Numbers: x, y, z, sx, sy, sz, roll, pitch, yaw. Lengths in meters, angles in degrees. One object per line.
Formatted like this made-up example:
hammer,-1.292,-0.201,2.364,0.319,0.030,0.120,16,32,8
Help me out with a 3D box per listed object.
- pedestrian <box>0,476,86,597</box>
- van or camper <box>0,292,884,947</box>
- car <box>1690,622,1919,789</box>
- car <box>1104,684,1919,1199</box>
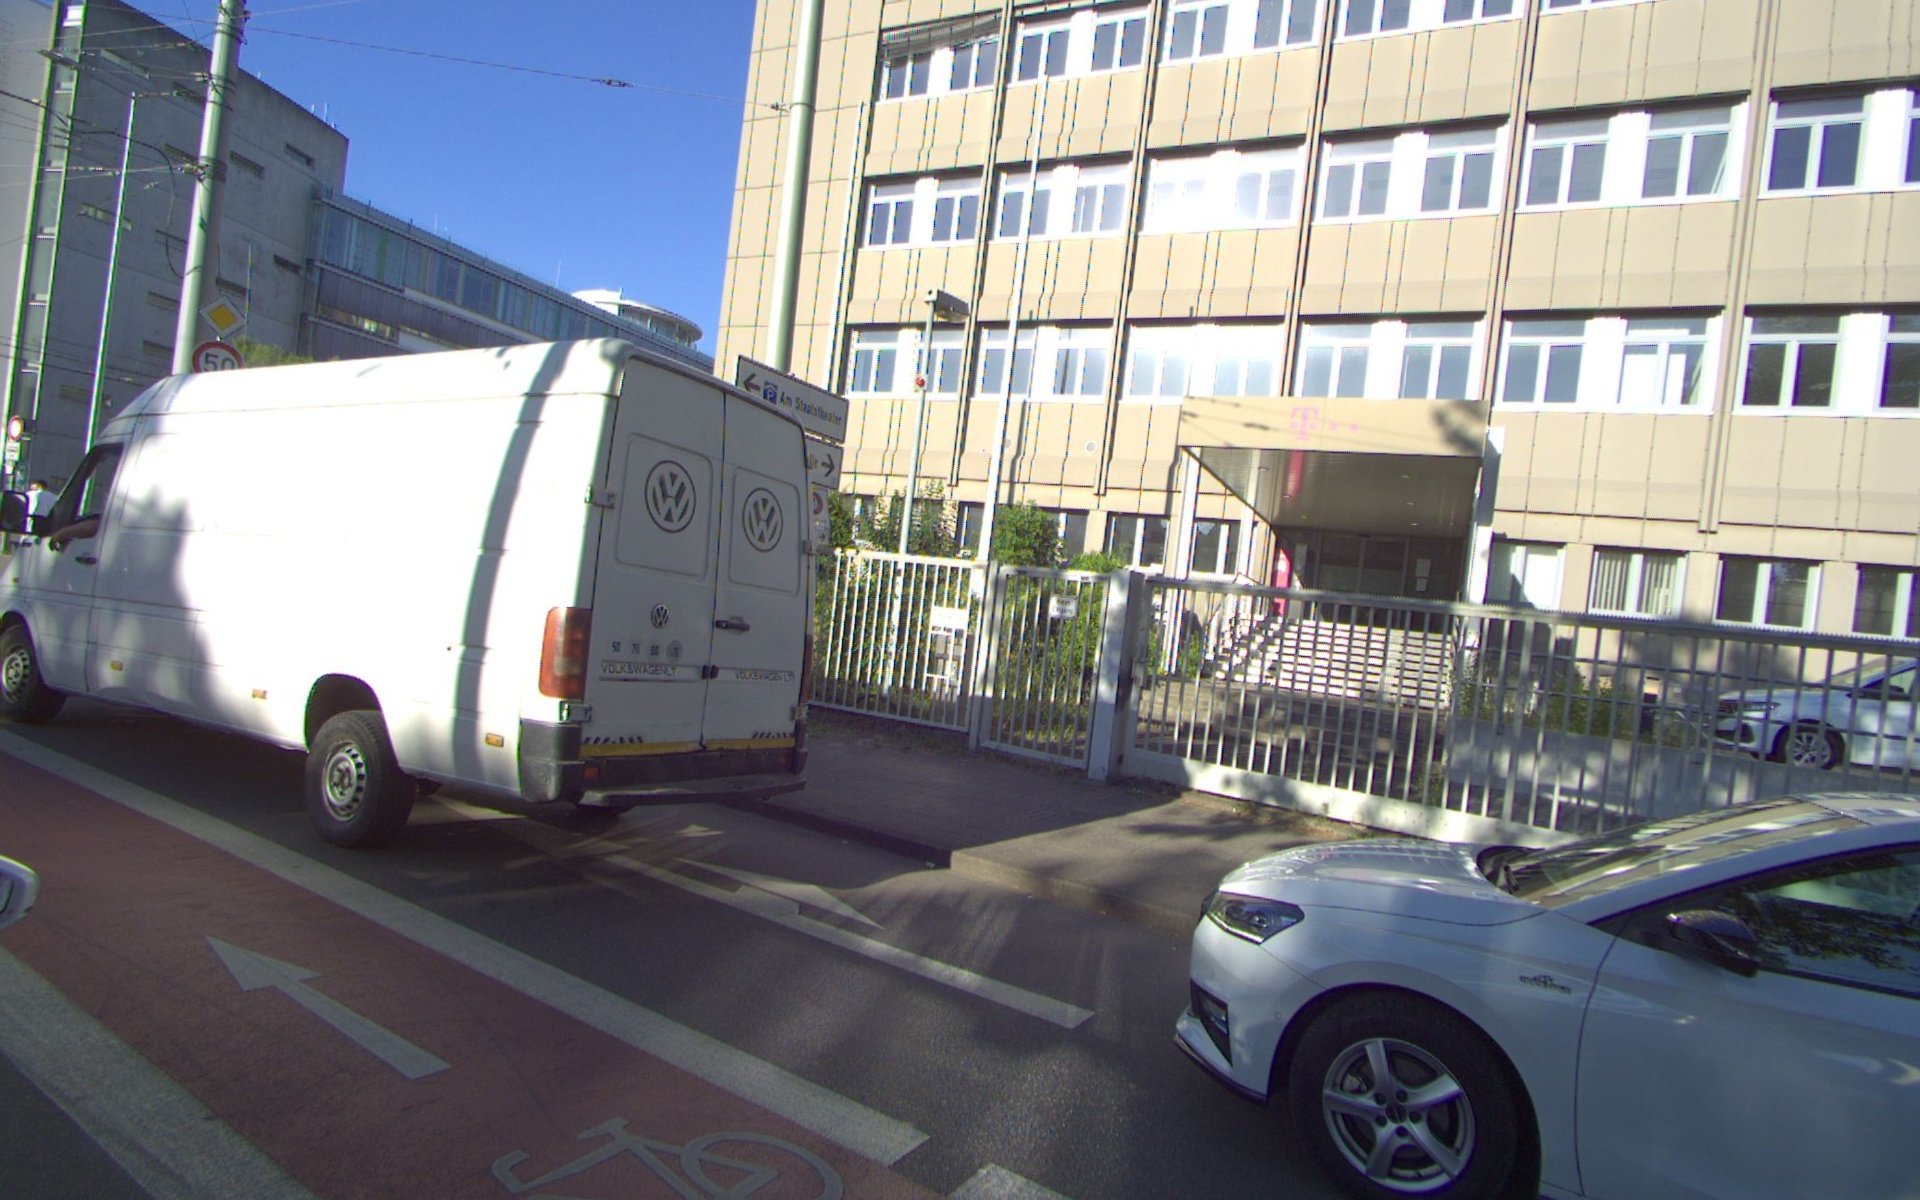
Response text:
pedestrian,-15.339,-1.059,16.720,1.195,1.846,0.778,7,1,32
van or camper,-3.773,-0.153,6.554,6.196,2.748,1.973,7,-1,29
car,12.809,1.534,13.256,4.701,1.865,1.998,7,0,27
car,2.690,1.255,3.018,4.006,1.405,1.705,7,-1,30
